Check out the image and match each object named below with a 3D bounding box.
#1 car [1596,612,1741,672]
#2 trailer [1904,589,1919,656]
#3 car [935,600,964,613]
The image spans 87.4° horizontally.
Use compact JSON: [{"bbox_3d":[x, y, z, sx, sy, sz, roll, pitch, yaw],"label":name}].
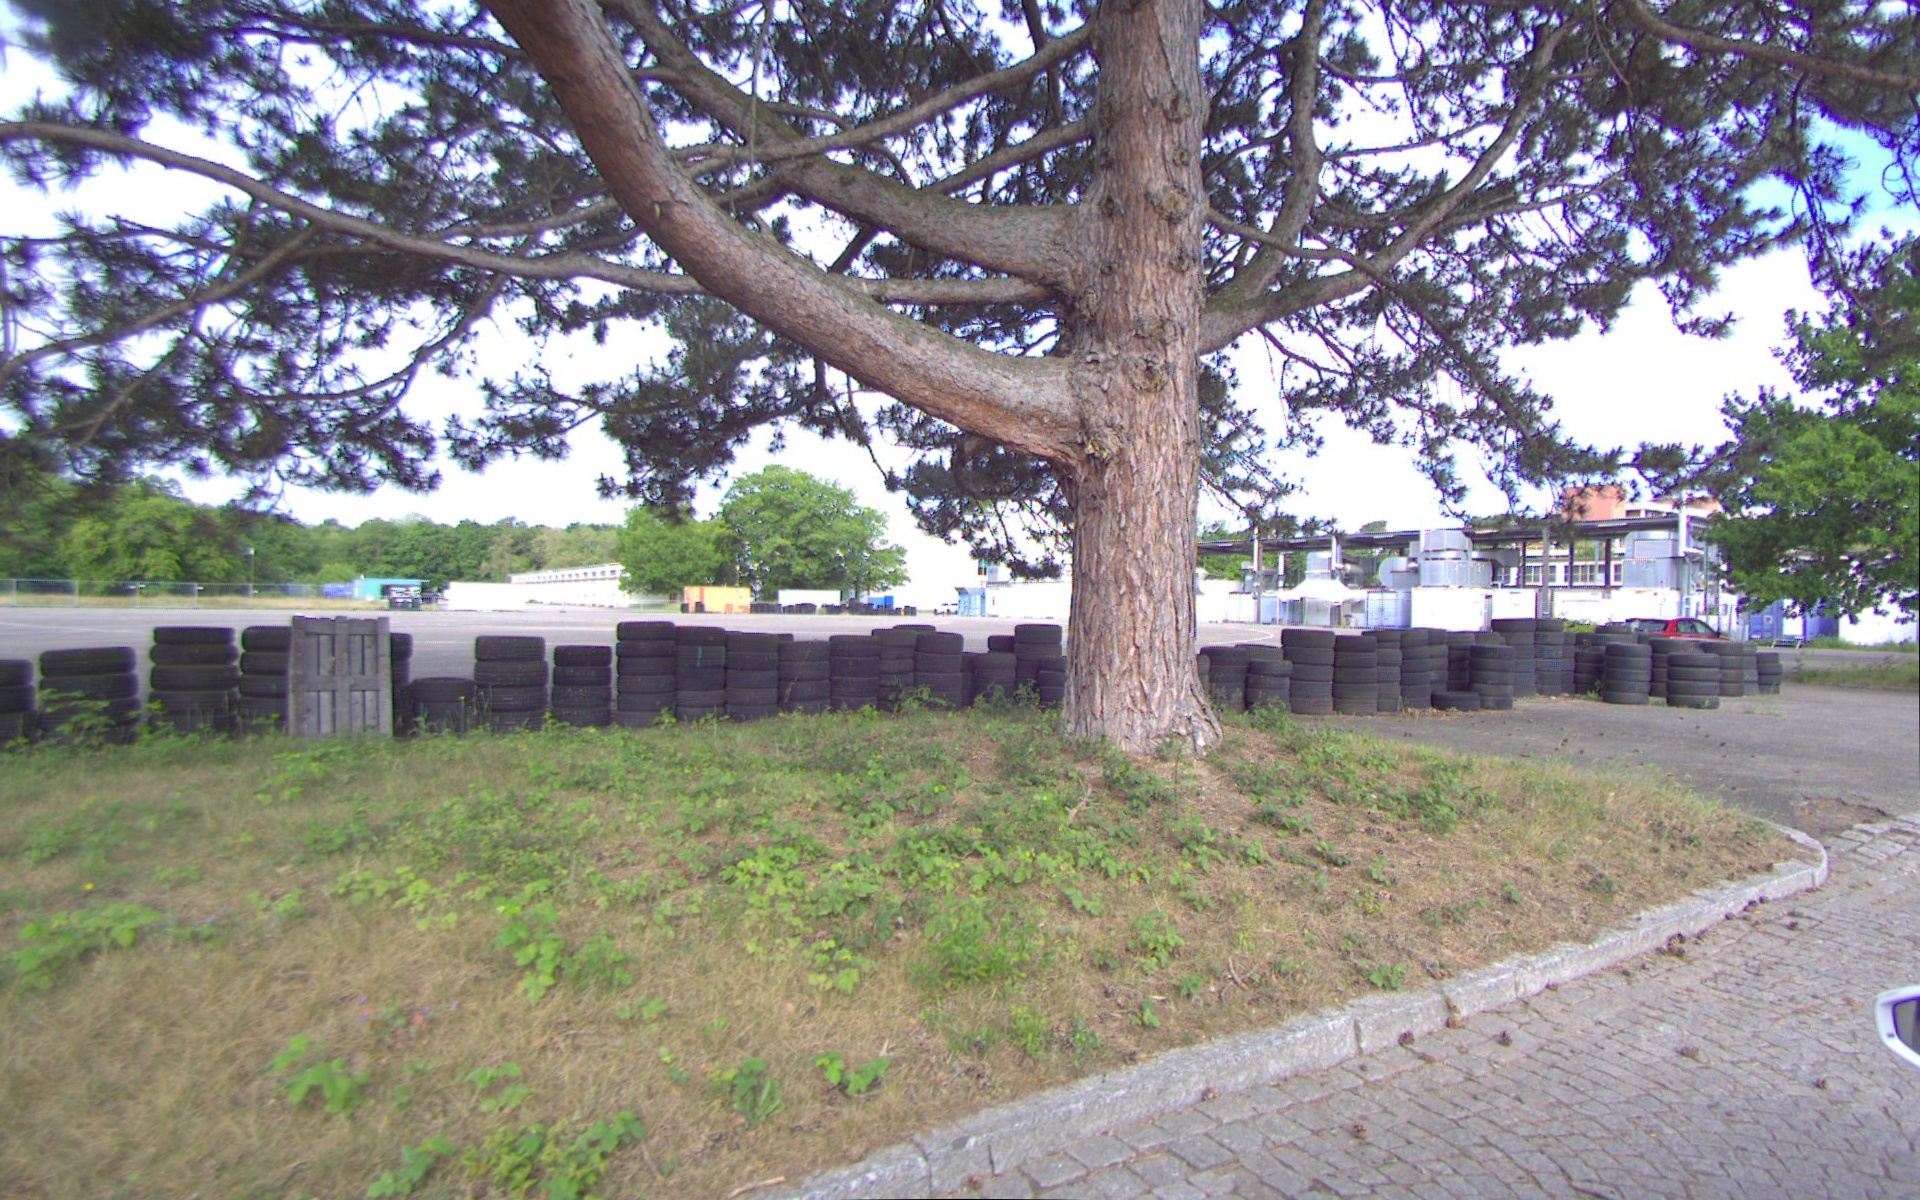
[{"bbox_3d":[18.890,1.101,26.770,3.443,1.472,1.760,1,0,-27],"label":"car"},{"bbox_3d":[49.092,1.136,48.266,8.682,3.108,3.143,1,0,-31],"label":"trailer"},{"bbox_3d":[-1.252,0.772,120.218,1.613,1.553,3.942,1,0,-34],"label":"car"}]
